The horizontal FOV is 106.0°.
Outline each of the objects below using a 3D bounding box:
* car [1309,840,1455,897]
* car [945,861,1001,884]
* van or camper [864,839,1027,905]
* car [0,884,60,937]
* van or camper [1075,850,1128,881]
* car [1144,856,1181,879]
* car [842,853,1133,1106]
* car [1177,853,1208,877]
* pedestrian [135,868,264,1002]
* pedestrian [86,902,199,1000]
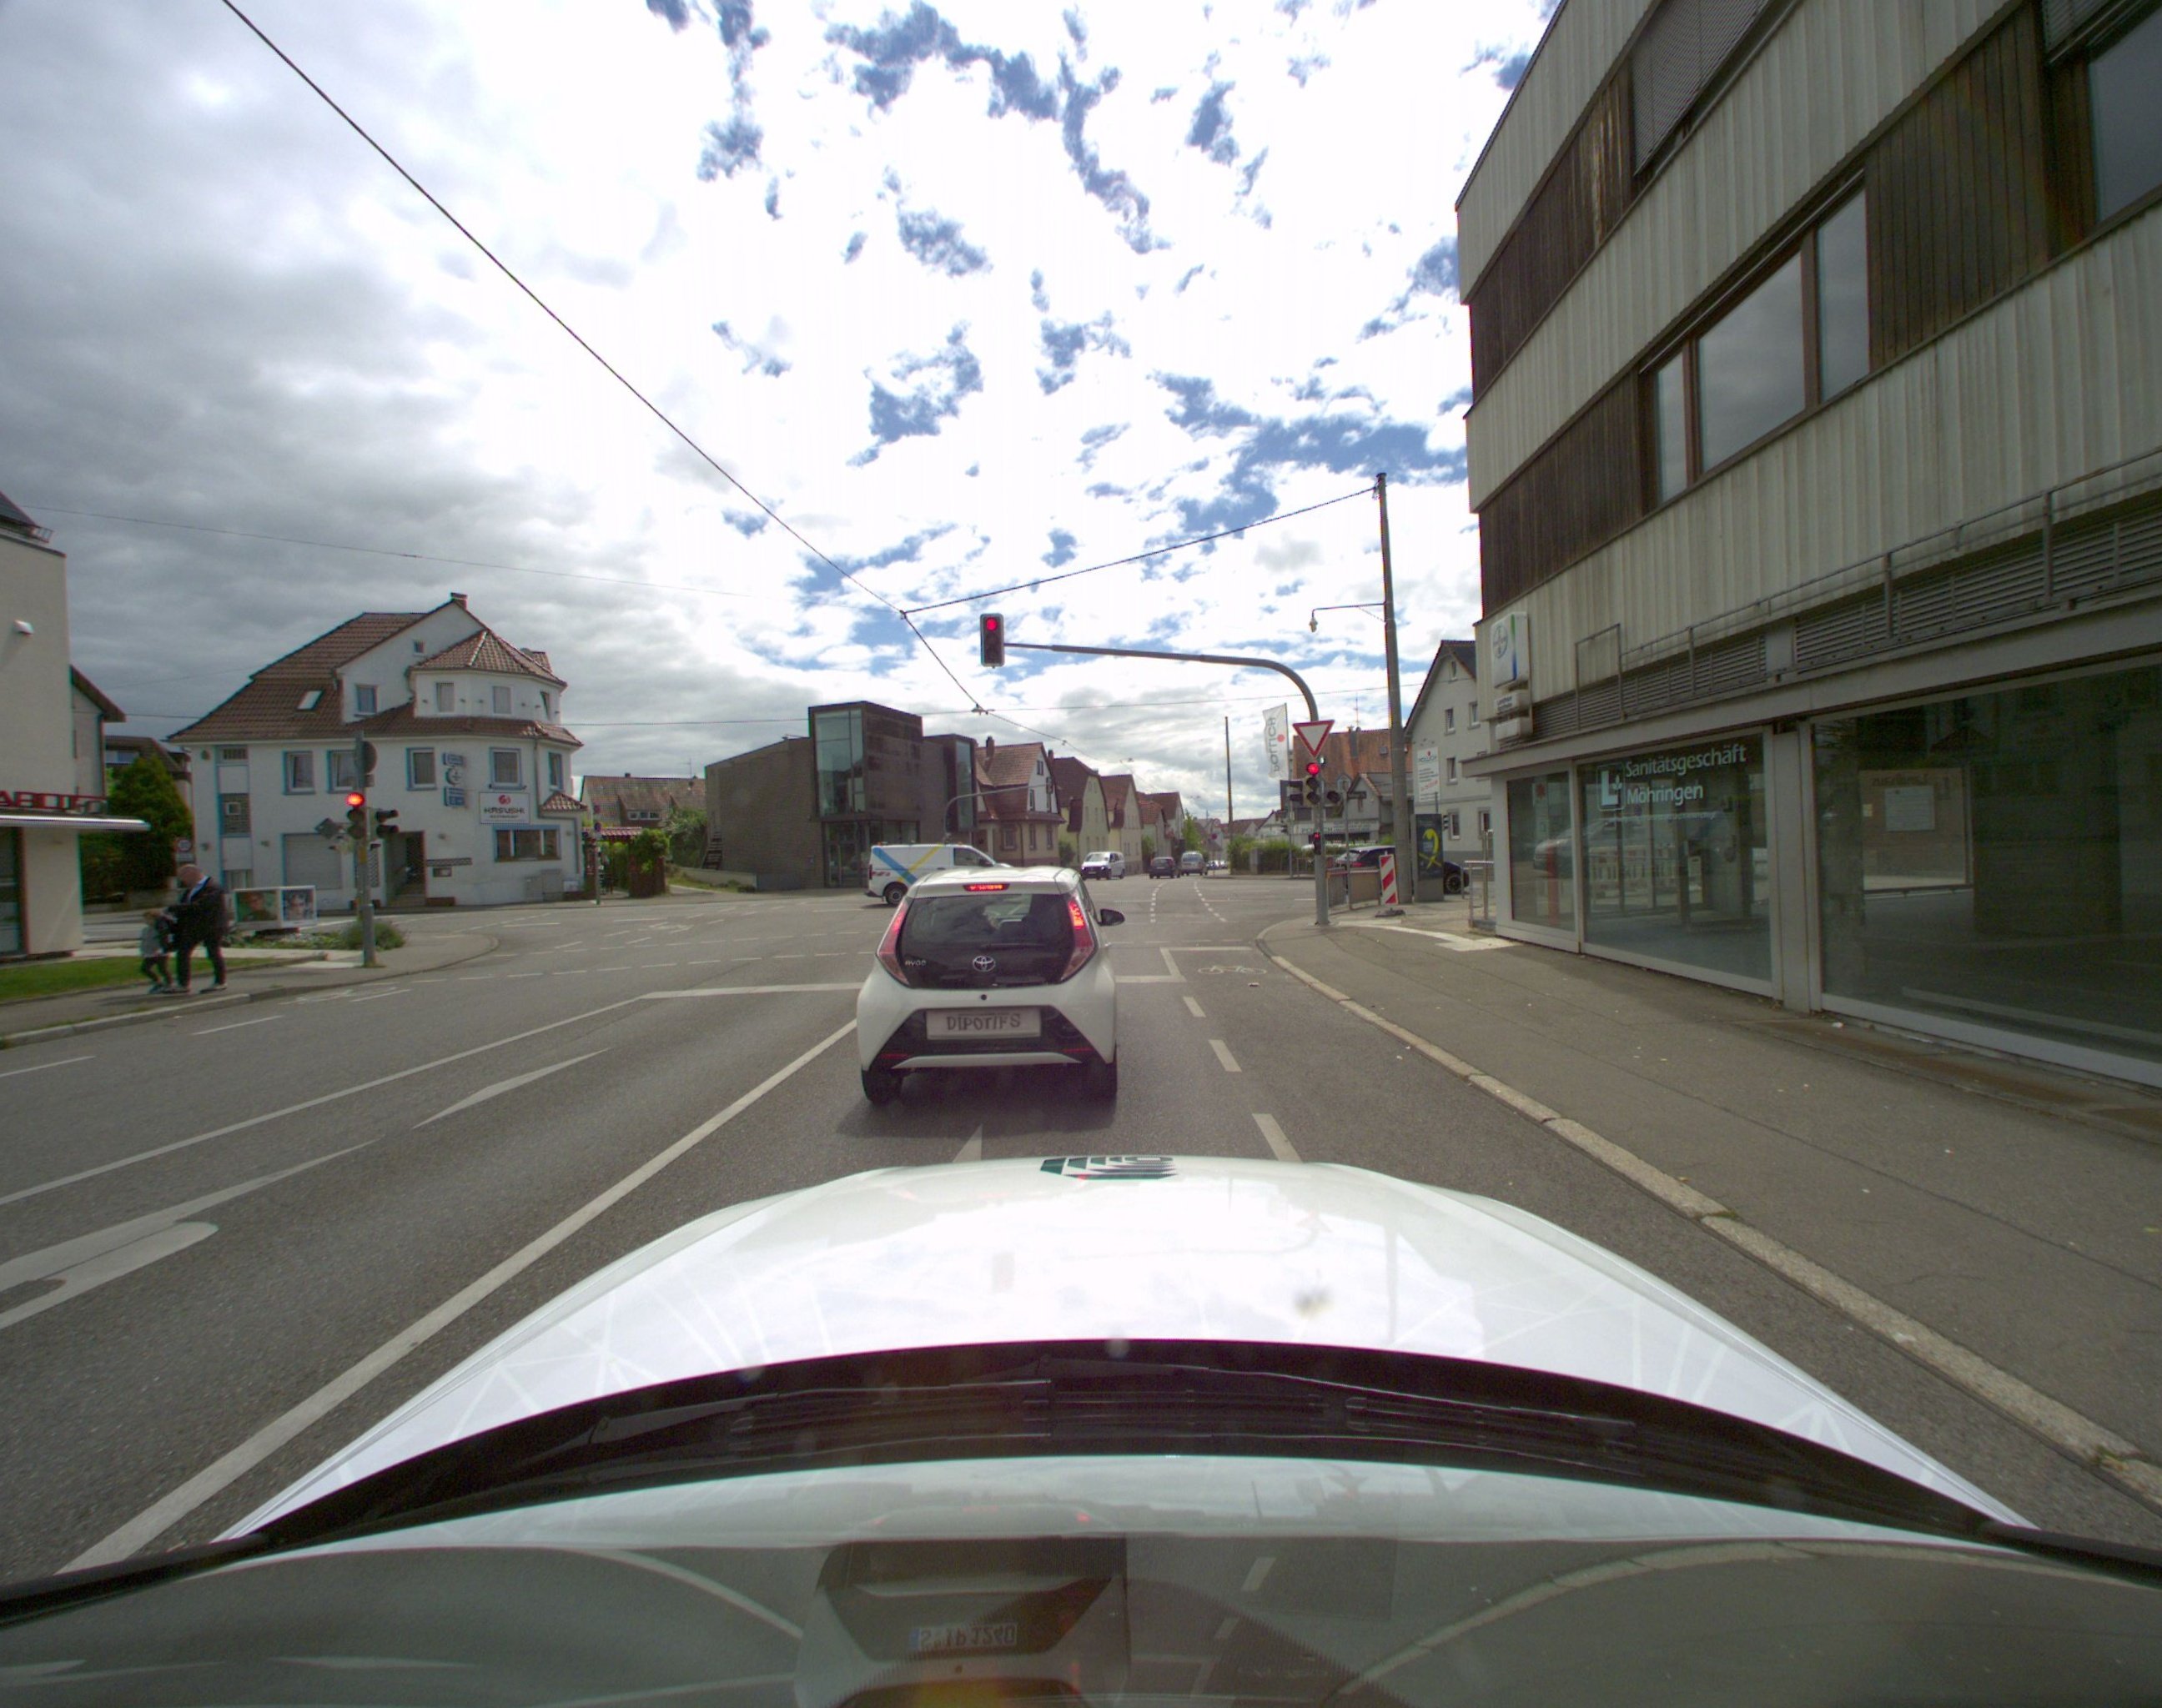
[{"bbox_3d":[10.747,0.478,29.278,4.495,1.742,1.996,-2,2,-7],"label":"car"},{"bbox_3d":[-7.834,1.355,59.216,3.589,1.605,1.697,-1,0,13],"label":"car"},{"bbox_3d":[-4.404,0.566,26.886,5.113,2.077,1.995,0,0,-8],"label":"van or camper"},{"bbox_3d":[-33.483,1.679,23.798,4.494,1.456,1.893,-1,0,-6],"label":"car"},{"bbox_3d":[1.413,0.720,53.790,2.099,1.926,5.308,-1,0,17],"label":"van or camper"},{"bbox_3d":[5.648,0.919,55.788,1.980,1.486,4.014,-1,0,13],"label":"car"},{"bbox_3d":[-0.544,0.737,6.423,1.691,1.456,3.298,-1,0,0],"label":"car"},{"bbox_3d":[9.067,0.868,66.147,1.979,1.849,4.089,-1,0,15],"label":"car"},{"bbox_3d":[-12.006,1.069,11.125,0.813,1.721,0.823,-2,0,-5],"label":"pedestrian"},{"bbox_3d":[-12.723,1.296,11.064,0.643,1.221,0.734,-2,0,-5],"label":"pedestrian"}]
